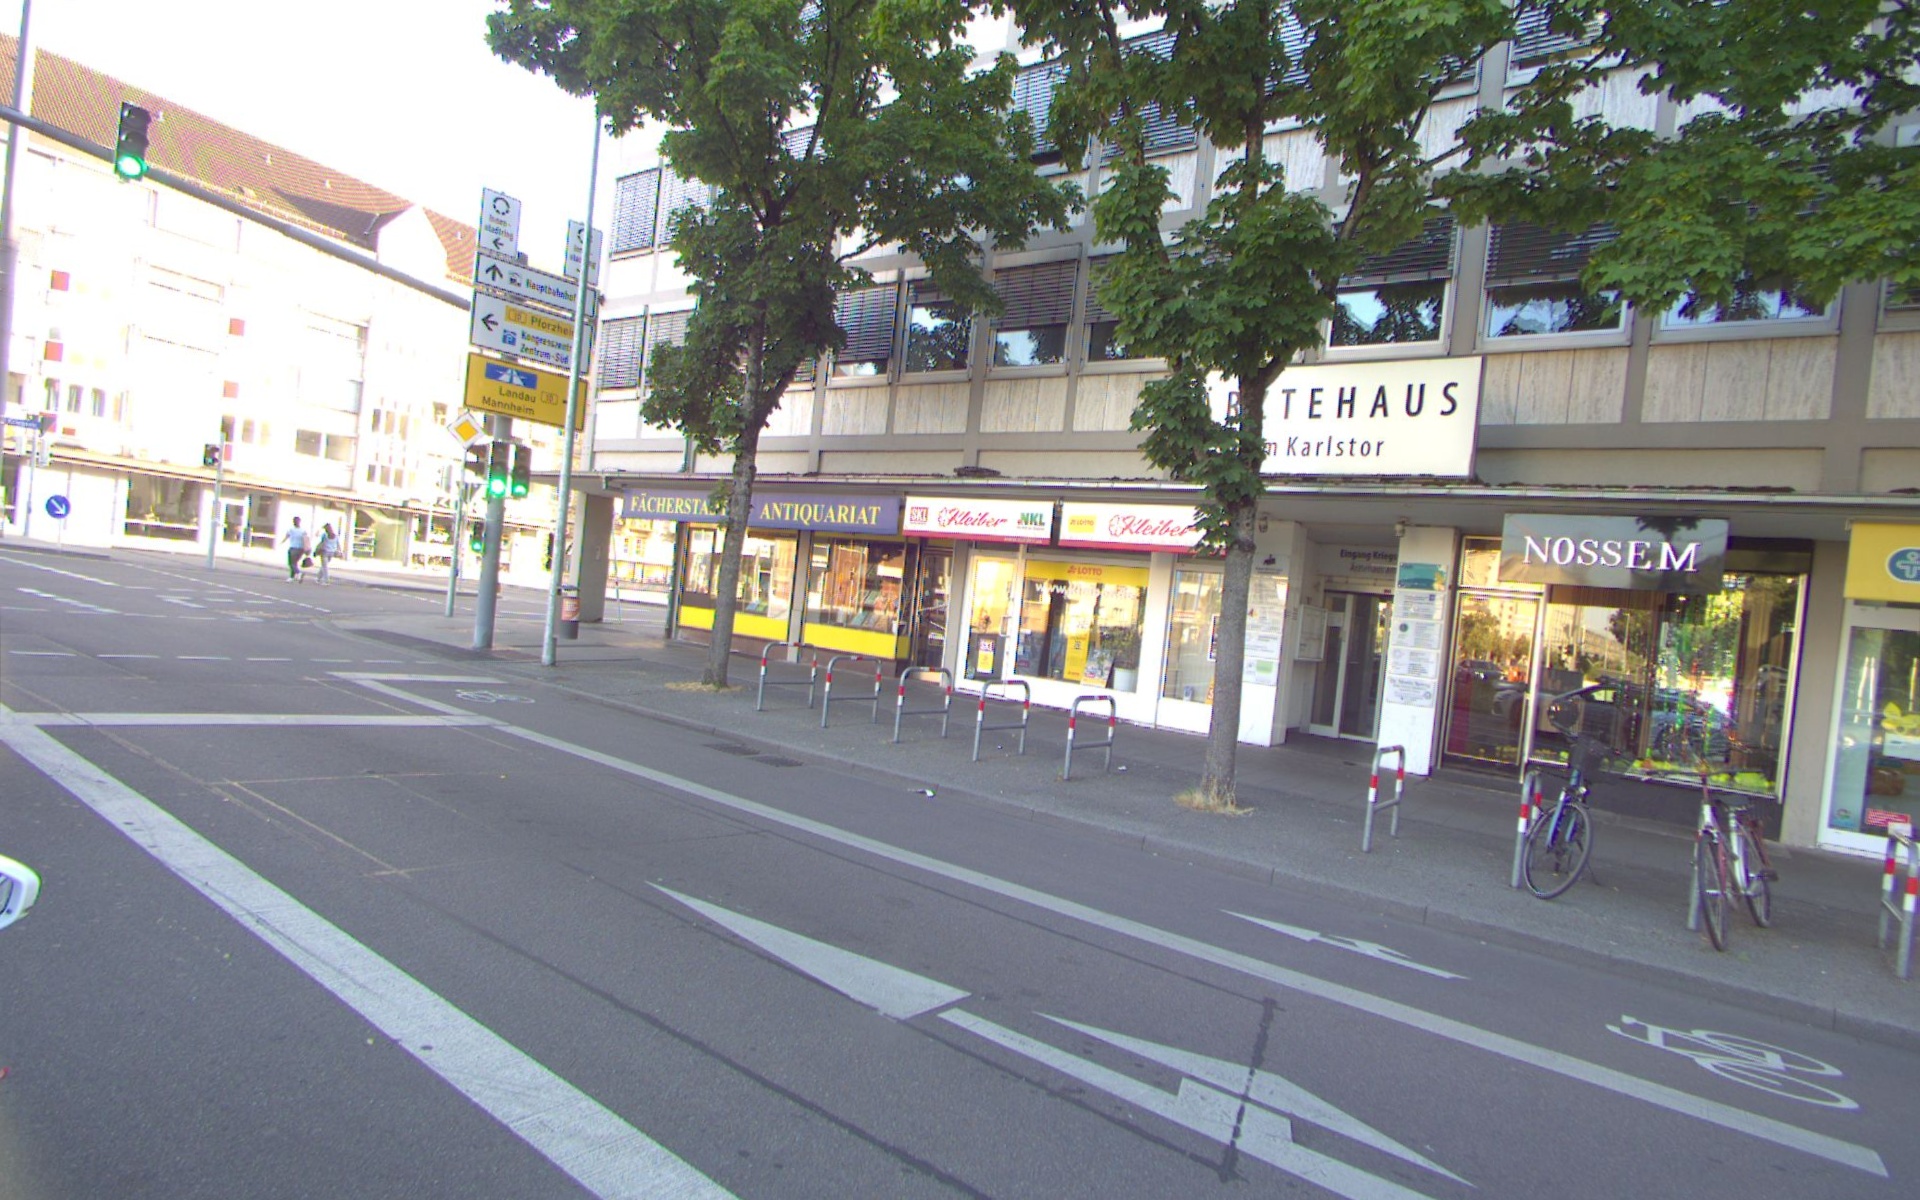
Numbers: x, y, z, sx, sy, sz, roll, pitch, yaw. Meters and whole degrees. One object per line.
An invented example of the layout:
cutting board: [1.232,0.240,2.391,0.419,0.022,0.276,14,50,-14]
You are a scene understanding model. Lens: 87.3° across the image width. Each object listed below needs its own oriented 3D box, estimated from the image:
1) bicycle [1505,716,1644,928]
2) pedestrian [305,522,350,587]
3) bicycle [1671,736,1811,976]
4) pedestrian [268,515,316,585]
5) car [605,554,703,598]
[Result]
bicycle: [4.392,1.514,7.295,0.655,1.155,1.742,7,1,29]
pedestrian: [-16.633,-1.180,26.461,0.695,1.603,0.822,6,1,-19]
bicycle: [5.028,1.570,6.539,0.530,1.200,1.631,7,1,36]
pedestrian: [-16.885,-1.253,25.440,0.716,1.670,0.768,6,1,-19]
car: [-16.950,-1.313,55.880,2.191,1.571,4.602,5,-6,39]
